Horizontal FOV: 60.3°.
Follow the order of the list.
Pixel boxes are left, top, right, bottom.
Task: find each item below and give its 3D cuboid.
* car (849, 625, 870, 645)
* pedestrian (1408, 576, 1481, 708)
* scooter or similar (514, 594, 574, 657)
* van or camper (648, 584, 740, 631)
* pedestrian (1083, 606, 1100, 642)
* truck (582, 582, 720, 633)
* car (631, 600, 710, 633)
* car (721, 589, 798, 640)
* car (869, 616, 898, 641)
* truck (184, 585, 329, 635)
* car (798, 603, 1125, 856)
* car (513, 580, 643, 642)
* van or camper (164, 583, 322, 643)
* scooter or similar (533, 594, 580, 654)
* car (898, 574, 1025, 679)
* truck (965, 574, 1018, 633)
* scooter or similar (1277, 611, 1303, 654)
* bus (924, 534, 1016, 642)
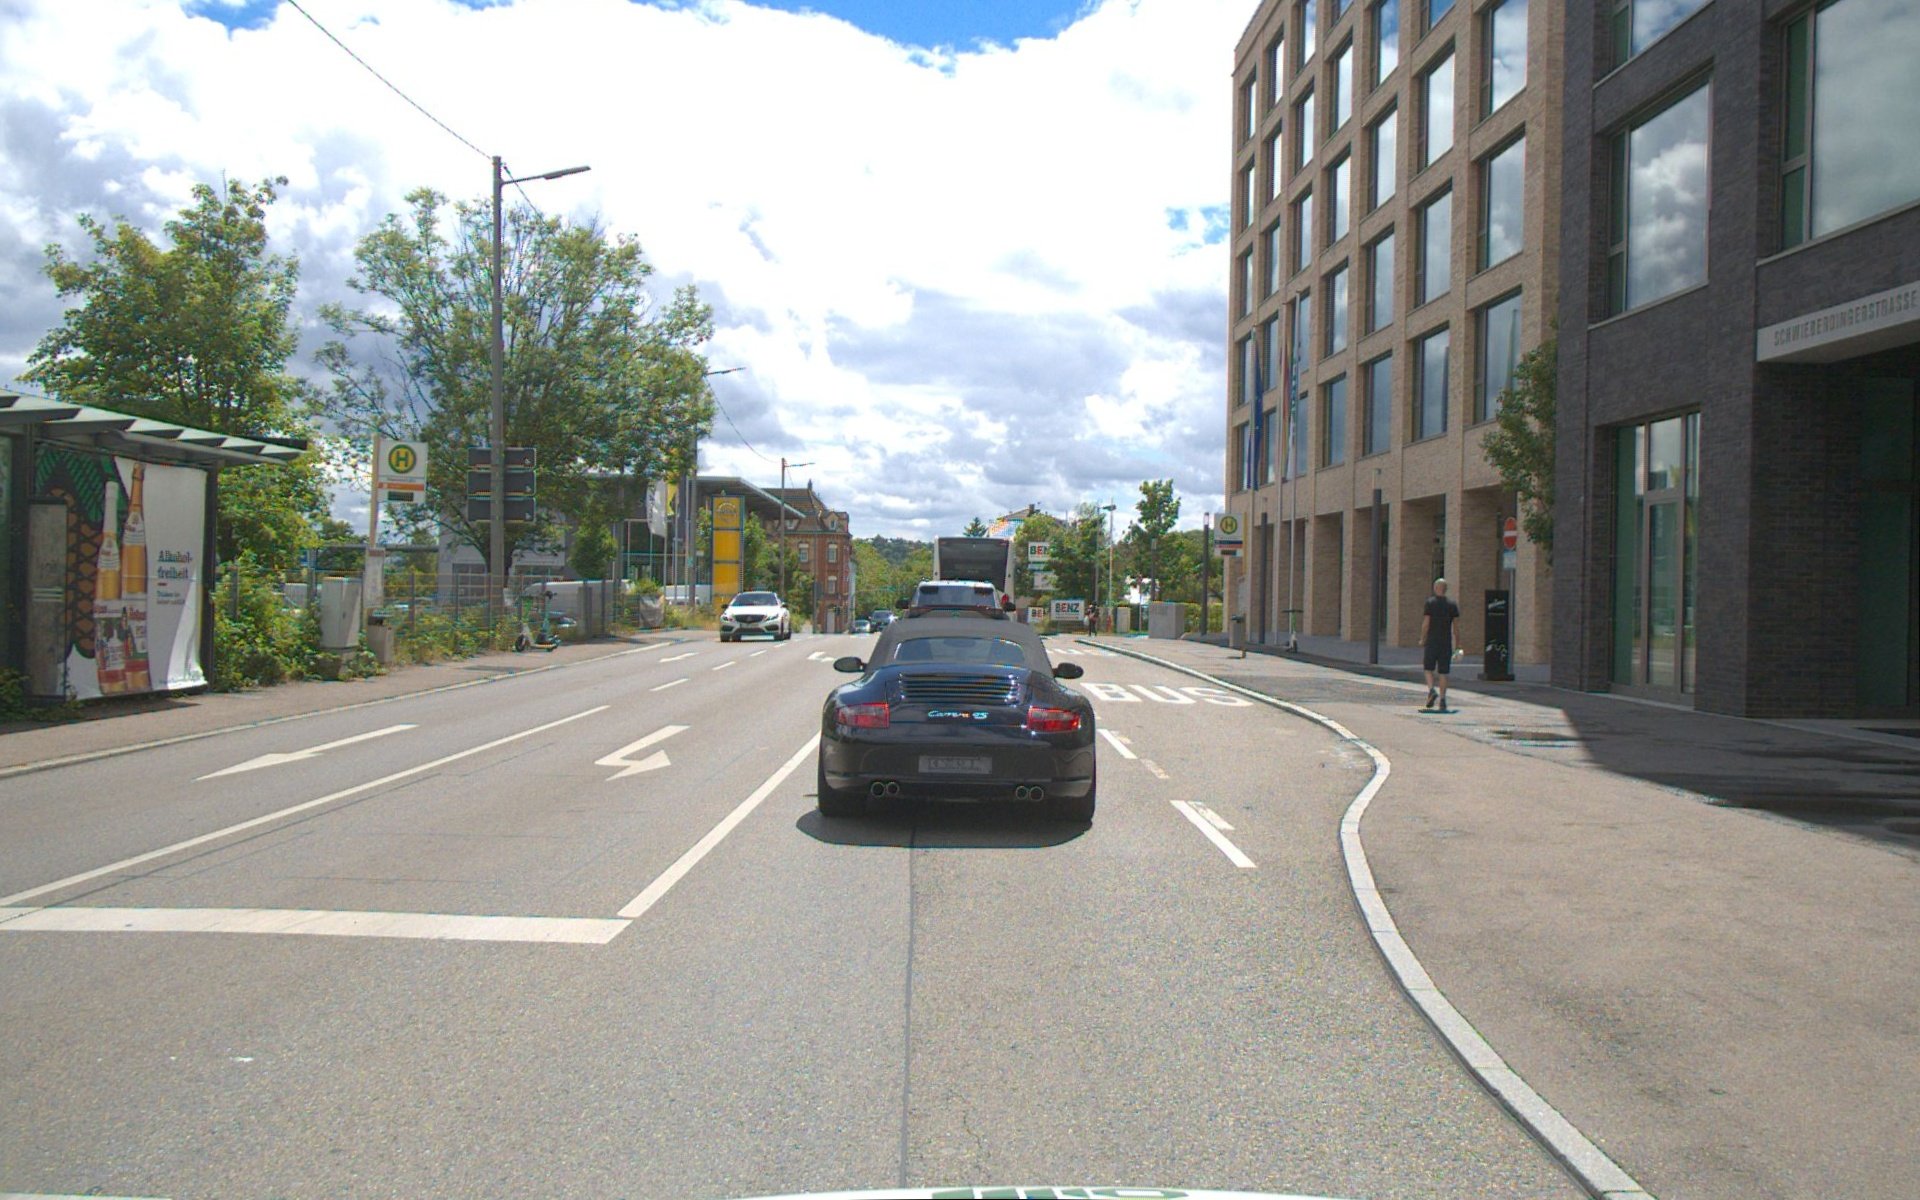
[{"bbox_3d":[-8.758,3.050,144.252,1.709,1.623,4.040,-2,-1,-2],"label":"car"},{"bbox_3d":[6.648,0.557,22.748,0.669,1.758,0.962,1,0,-1],"label":"pedestrian"},{"bbox_3d":[-8.811,0.530,35.093,0.523,1.284,1.472,2,0,16],"label":"scooter or similar"},{"bbox_3d":[-15.181,0.408,94.628,4.925,2.575,2.317,1,0,-2],"label":"van or camper"},{"bbox_3d":[5.698,1.047,71.700,0.673,1.563,0.856,0,-1,-1],"label":"pedestrian"},{"bbox_3d":[-13.681,0.367,73.566,5.745,2.185,2.474,0,-2,-4],"label":"truck"},{"bbox_3d":[-16.097,0.914,92.000,3.903,1.735,2.001,1,0,4],"label":"car"},{"bbox_3d":[-5.878,0.396,48.867,1.760,1.401,4.224,0,0,-1],"label":"car"},{"bbox_3d":[-4.831,1.822,104.125,1.793,1.535,4.274,0,-1,-3],"label":"car"},{"bbox_3d":[-33.174,0.516,78.249,6.204,2.268,2.684,1,-2,-22],"label":"truck"},{"bbox_3d":[0.016,0.762,11.786,1.891,1.401,4.208,1,0,0],"label":"car"},{"bbox_3d":[-13.319,0.378,57.900,4.077,2.049,2.197,1,0,-3],"label":"car"},{"bbox_3d":[-29.610,0.529,68.579,5.794,2.396,2.489,1,0,-20],"label":"van or camper"},{"bbox_3d":[-8.919,0.517,36.589,0.523,1.288,1.472,2,0,4],"label":"scooter or similar"},{"bbox_3d":[-0.050,0.406,27.836,1.892,1.610,4.205,1,0,-3],"label":"car"},{"bbox_3d":[1.674,0.164,91.661,2.658,3.108,7.711,0,0,-1],"label":"truck"},{"bbox_3d":[9.089,0.878,45.579,0.418,1.173,1.403,0,0,-1],"label":"scooter or similar"},{"bbox_3d":[0.375,-0.406,56.713,2.744,3.254,12.196,1,0,1],"label":"bus"}]
